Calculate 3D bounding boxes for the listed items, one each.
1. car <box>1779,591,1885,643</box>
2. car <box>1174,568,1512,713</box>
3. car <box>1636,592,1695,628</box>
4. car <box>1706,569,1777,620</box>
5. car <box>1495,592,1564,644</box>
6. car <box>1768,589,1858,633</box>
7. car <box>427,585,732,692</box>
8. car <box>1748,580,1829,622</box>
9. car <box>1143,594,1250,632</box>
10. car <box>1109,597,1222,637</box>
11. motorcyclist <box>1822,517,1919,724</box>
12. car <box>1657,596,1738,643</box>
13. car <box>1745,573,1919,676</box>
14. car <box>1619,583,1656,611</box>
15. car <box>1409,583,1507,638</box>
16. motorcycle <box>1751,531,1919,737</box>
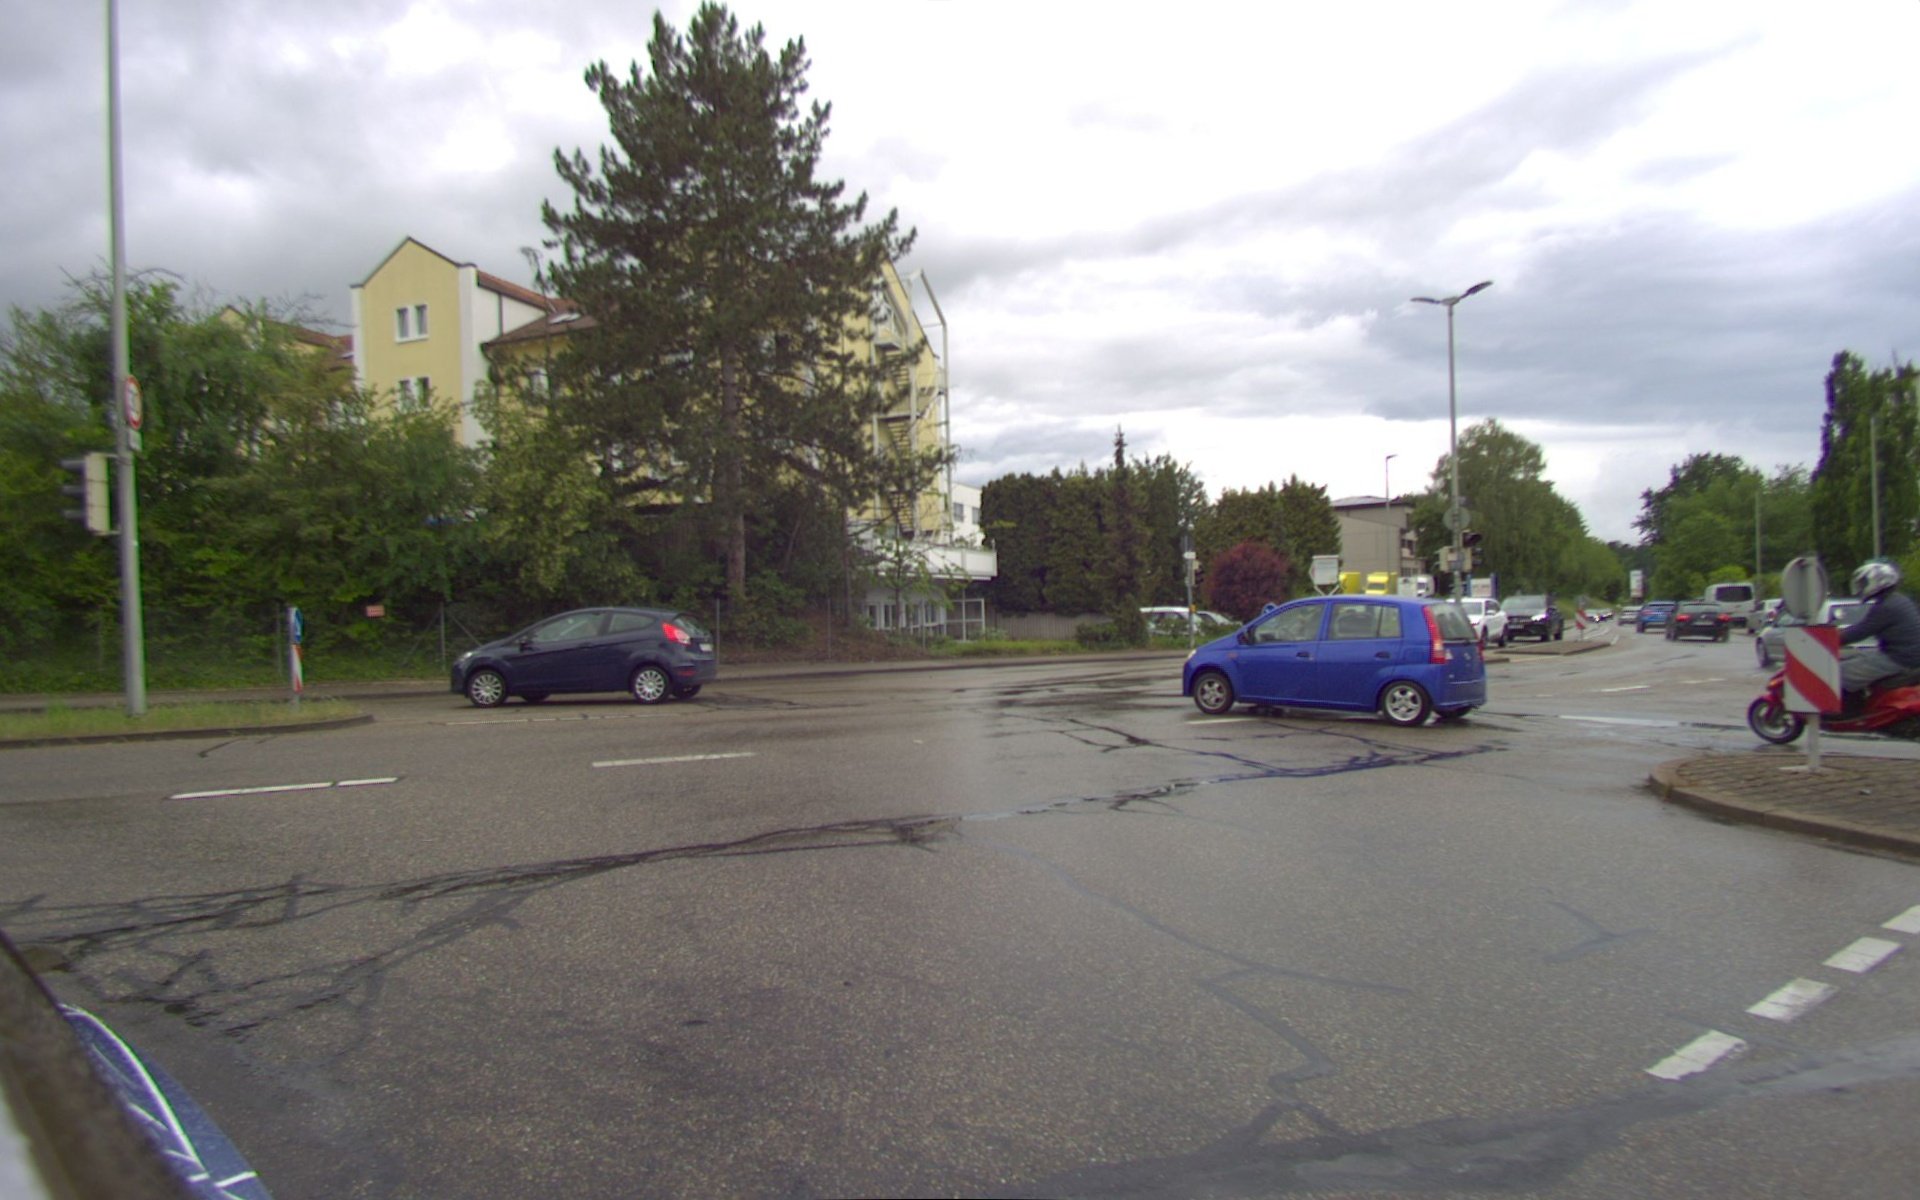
[{"bbox_3d":[28.918,0.559,33.707,1.993,1.567,3.956,-3,-2,32],"label":"car"},{"bbox_3d":[4.421,0.431,12.004,1.502,1.467,3.443,1,-1,-43],"label":"car"},{"bbox_3d":[34.226,0.470,49.058,1.998,1.567,3.948,-4,-2,39],"label":"car"},{"bbox_3d":[42.166,-0.237,54.734,2.594,2.432,5.194,-3,-4,34],"label":"car"},{"bbox_3d":[21.592,0.654,38.302,1.994,1.829,3.955,-3,-1,33],"label":"car"},{"bbox_3d":[31.637,0.383,37.650,1.993,1.567,3.957,-1,0,32],"label":"car"},{"bbox_3d":[-5.715,0.561,15.501,3.950,1.512,1.923,-1,0,6],"label":"car"},{"bbox_3d":[33.948,0.064,41.576,1.993,1.567,3.956,-3,-2,32],"label":"car"},{"bbox_3d":[9.893,0.551,42.462,3.998,1.404,1.709,-2,2,41],"label":"car"},{"bbox_3d":[8.231,0.693,40.719,4.000,1.475,1.972,-2,0,43],"label":"car"},{"bbox_3d":[7.863,0.161,8.344,0.759,1.636,0.942,-1,0,-32],"label":"motorcyclist"},{"bbox_3d":[26.549,0.725,36.538,1.993,1.564,3.956,-2,-3,32],"label":"car"},{"bbox_3d":[17.309,0.410,19.830,1.987,1.682,3.971,-3,2,22],"label":"car"},{"bbox_3d":[48.510,-0.240,72.452,1.996,1.771,3.952,-2,2,36],"label":"car"},{"bbox_3d":[16.161,0.302,32.755,1.998,1.652,3.948,-2,0,39],"label":"car"},{"bbox_3d":[7.860,0.267,8.351,0.784,1.636,1.927,-1,0,-32],"label":"motorcycle"}]
